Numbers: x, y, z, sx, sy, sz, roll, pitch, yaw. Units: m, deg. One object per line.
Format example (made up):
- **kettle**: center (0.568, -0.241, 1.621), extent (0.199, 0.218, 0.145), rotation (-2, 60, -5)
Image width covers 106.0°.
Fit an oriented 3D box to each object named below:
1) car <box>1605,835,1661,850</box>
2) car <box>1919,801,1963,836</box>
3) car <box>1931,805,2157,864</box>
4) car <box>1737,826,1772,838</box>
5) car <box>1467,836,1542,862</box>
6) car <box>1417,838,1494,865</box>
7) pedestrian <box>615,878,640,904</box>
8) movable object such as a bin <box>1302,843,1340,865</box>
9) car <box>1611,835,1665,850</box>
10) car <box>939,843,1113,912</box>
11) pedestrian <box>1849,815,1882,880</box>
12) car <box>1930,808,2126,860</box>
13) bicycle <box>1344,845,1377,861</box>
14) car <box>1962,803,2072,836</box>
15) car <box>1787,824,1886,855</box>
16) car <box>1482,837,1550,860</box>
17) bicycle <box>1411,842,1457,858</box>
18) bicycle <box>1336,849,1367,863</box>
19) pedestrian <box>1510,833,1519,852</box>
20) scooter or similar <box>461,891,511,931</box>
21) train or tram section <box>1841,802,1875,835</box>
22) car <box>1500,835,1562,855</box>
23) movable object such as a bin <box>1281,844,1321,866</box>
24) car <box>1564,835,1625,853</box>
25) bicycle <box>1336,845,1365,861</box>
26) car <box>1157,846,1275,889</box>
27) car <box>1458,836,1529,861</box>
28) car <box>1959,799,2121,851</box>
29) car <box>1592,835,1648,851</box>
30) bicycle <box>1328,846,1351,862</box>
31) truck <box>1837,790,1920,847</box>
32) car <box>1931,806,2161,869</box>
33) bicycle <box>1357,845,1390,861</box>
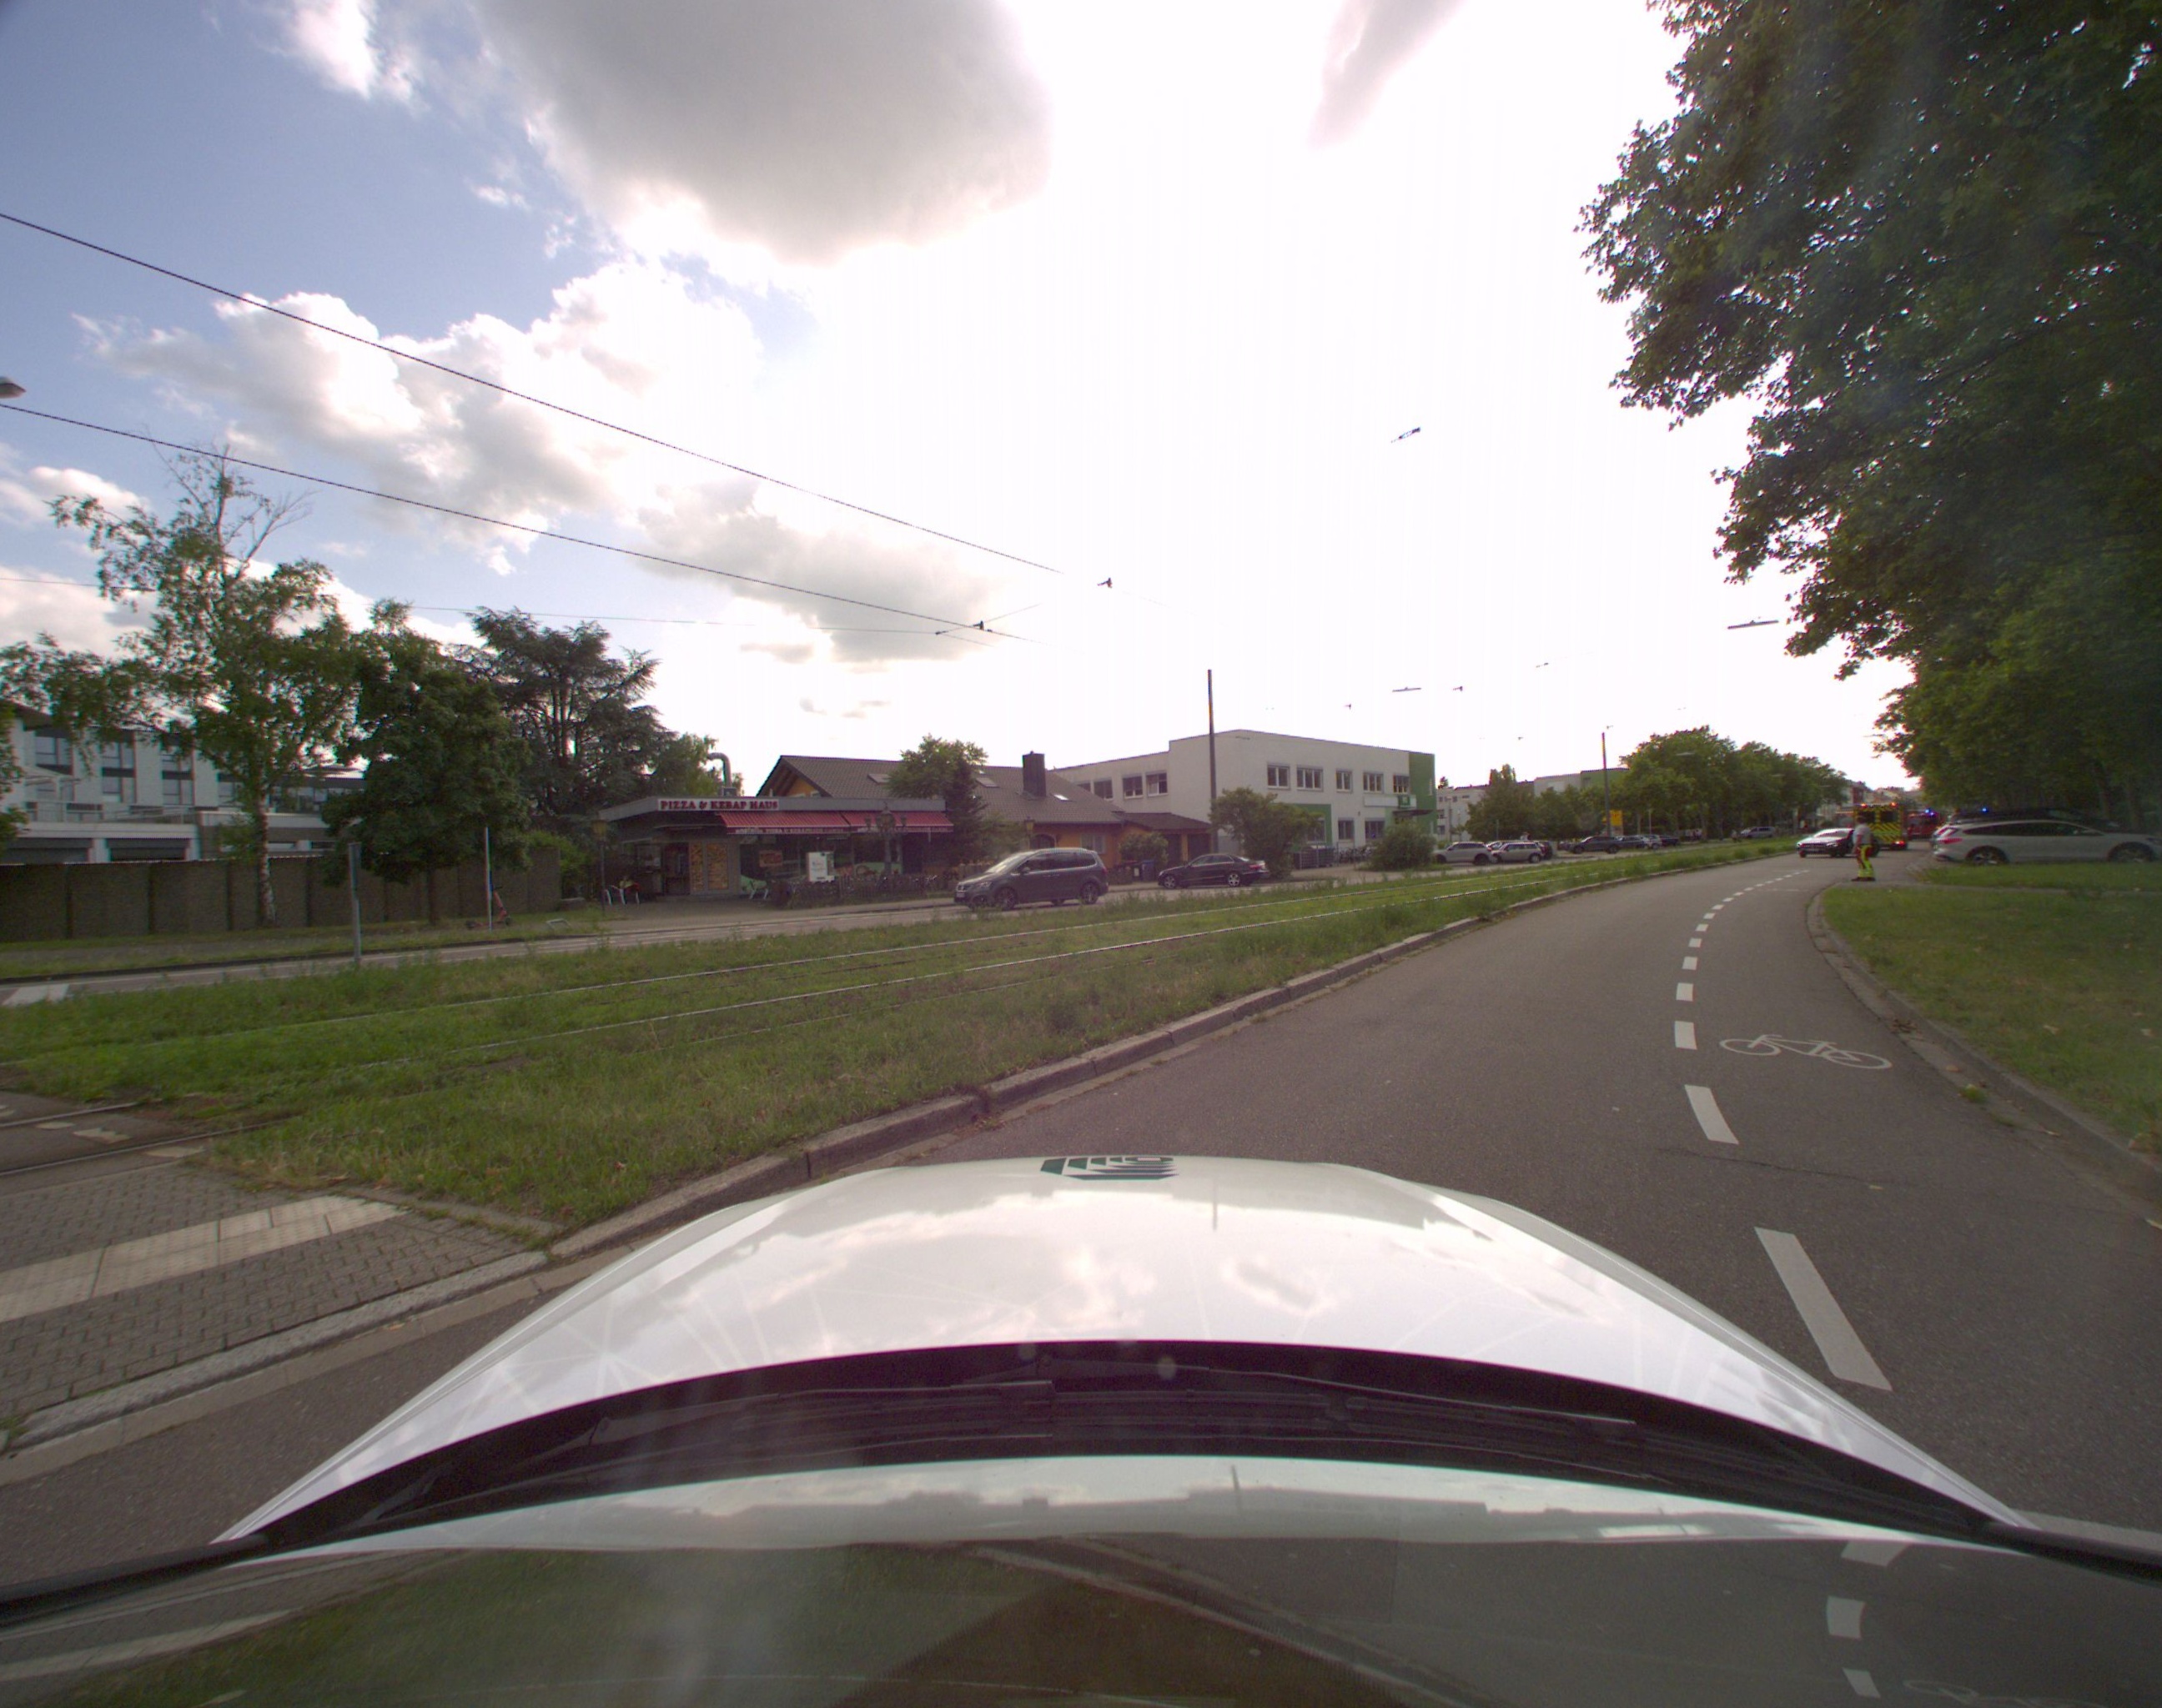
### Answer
- **car**: center (54.623, -1.136, 80.677), extent (4.261, 1.364, 1.913), rotation (-2, 0, 26)
- **car**: center (86.360, -3.462, 81.872), extent (7.502, 3.330, 2.939), rotation (-1, 1, -44)
- **car**: center (30.623, -0.547, 26.169), extent (2.011, 1.644, 4.487), rotation (0, -1, -44)
- **car**: center (109.238, -3.584, 132.082), extent (3.956, 1.837, 1.830), rotation (0, 1, 16)
- **car**: center (28.561, -0.309, 55.010), extent (4.265, 1.629, 1.912), rotation (-2, 0, 20)
- **car**: center (24.558, -0.156, 53.536), extent (4.269, 1.629, 1.910), rotation (-2, 0, 15)
- **pedestrian**: center (-17.111, 1.397, 30.710), extent (0.730, 0.929, 0.768), rotation (-1, 1, -37)
- **movable object such as a bin**: center (15.648, 0.019, 53.132), extent (2.142, 1.326, 1.361), rotation (-2, 0, -38)
- **car**: center (56.400, -1.184, 82.595), extent (4.261, 1.364, 1.913), rotation (-2, 0, 26)
- **car**: center (-1.553, 0.633, 24.054), extent (4.762, 1.722, 1.978), rotation (-2, 0, -36)
- **pedestrian**: center (20.797, -0.169, 21.585), extent (0.497, 1.684, 0.580), rotation (-1, 0, -43)
- **car**: center (34.367, -0.662, 29.796), extent (2.011, 1.644, 4.487), rotation (0, -1, -44)
- **bicycle**: center (20.977, -0.076, 61.179), extent (0.764, 1.166, 2.326), rotation (-2, 0, -36)
- **car**: center (99.554, -3.583, 86.842), extent (7.365, 3.330, 2.993), rotation (0, 1, 43)
- **car**: center (38.133, -0.739, 41.098), extent (4.608, 1.393, 1.828), rotation (-2, 0, -21)
- **car**: center (31.678, -0.399, 59.403), extent (4.121, 1.504, 1.870), rotation (-2, 0, 20)
- **bicycle**: center (28.267, -0.300, 65.212), extent (3.104, 1.166, 1.149), rotation (-2, 0, 44)
- **bicycle**: center (20.152, 0.137, 60.735), extent (0.734, 0.970, 2.135), rotation (-2, 0, -38)
- **pedestrian**: center (38.572, -0.991, 72.494), extent (0.590, 1.674, 0.544), rotation (-2, 0, 39)
- **scooter or similar**: center (-17.163, 1.636, 23.508), extent (1.107, 1.059, 0.398), rotation (-1, 1, -27)
- **train or tram section**: center (89.725, -4.103, 94.086), extent (2.464, 3.596, 7.468), rotation (-2, 0, 42)
- **car**: center (35.469, -0.710, 64.324), extent (4.118, 1.504, 1.872), rotation (-1, 0, 26)
- **movable object such as a bin**: center (13.973, 0.058, 51.703), extent (2.127, 1.326, 1.361), rotation (-2, 0, -38)
- **car**: center (44.788, -0.887, 71.153), extent (4.262, 1.364, 1.913), rotation (-2, 0, 24)
- **bicycle**: center (19.197, -0.069, 58.014), extent (0.741, 1.081, 1.775), rotation (-2, 0, -44)
- **car**: center (5.809, 0.571, 35.046), extent (4.521, 1.580, 2.012), rotation (-3, -1, 28)
- **car**: center (29.115, -0.365, 57.593), extent (4.265, 1.629, 1.912), rotation (-2, 0, 20)
- **car**: center (42.071, -1.210, 35.901), extent (2.011, 2.014, 4.502), rotation (-1, -1, -41)
- **car**: center (51.998, -1.075, 78.604), extent (4.261, 1.364, 1.913), rotation (-2, 0, 26)
- **bicycle**: center (18.957, -0.004, 59.752), extent (0.707, 1.166, 1.607), rotation (-2, 0, -25)
- **truck**: center (51.217, -2.236, 52.211), extent (7.564, 3.317, 3.156), rotation (-2, 0, -41)
- **car**: center (28.740, -0.436, 24.377), extent (2.011, 1.644, 4.487), rotation (0, -1, -44)
- **bicycle**: center (22.116, -0.089, 61.627), extent (0.751, 1.166, 2.392), rotation (-2, 0, -35)
